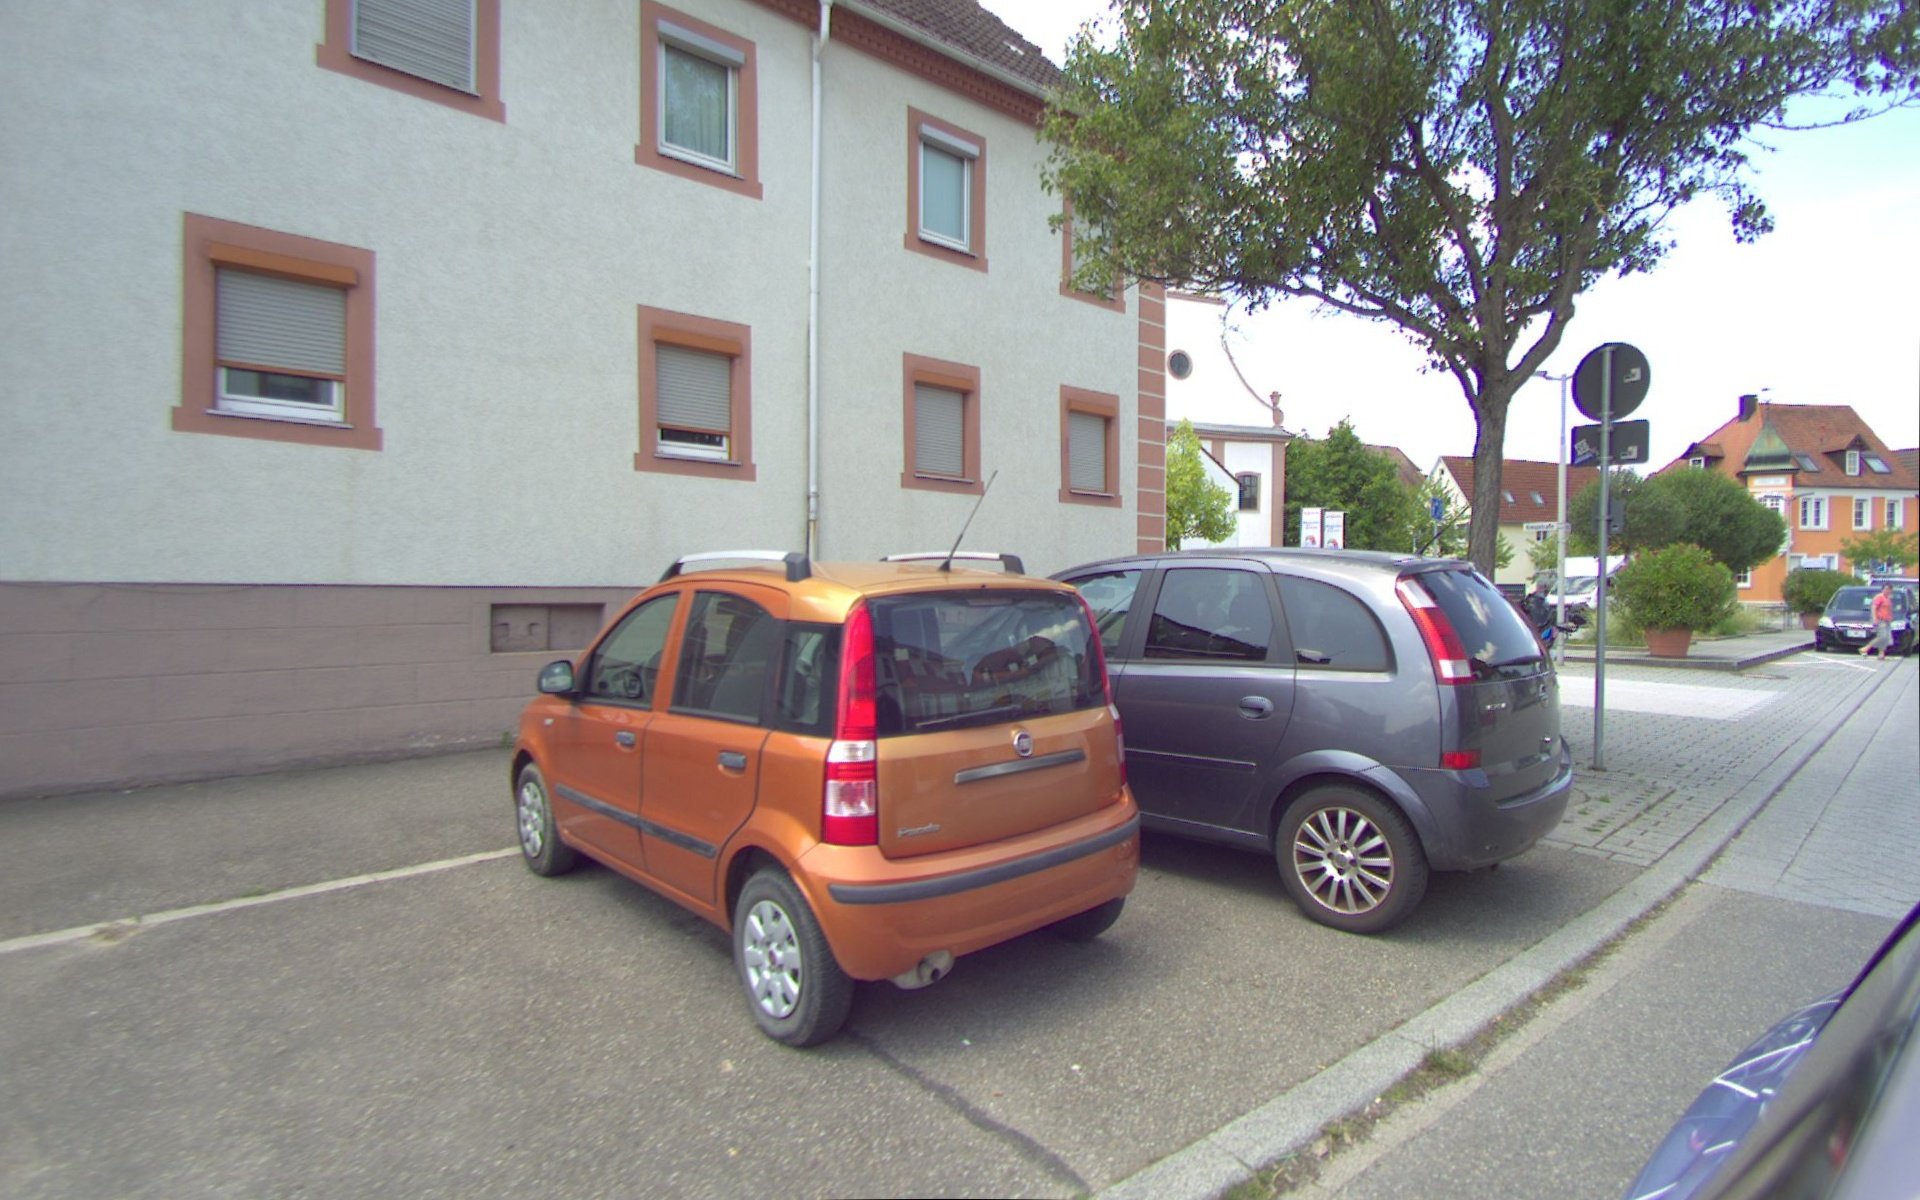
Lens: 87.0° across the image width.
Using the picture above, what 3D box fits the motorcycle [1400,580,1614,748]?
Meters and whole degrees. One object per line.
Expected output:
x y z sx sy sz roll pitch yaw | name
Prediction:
5.074 0.519 9.612 0.856 1.412 2.225 0 1 1 | motorcycle

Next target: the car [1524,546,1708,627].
26.027 -0.601 40.106 6.966 2.999 2.767 -1 2 -24 | car

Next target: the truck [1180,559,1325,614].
14.322 -0.679 50.109 2.898 2.529 6.832 0 1 -30 | truck

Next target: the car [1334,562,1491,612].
23.173 -0.656 52.081 6.842 2.508 2.650 0 0 5 | car

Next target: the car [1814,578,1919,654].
21.965 0.311 24.071 4.340 1.583 1.773 -1 3 -40 | car

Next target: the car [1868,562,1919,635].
30.877 -0.069 32.503 5.013 2.204 1.946 -1 2 -42 | car

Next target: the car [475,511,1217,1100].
-0.766 0.544 4.583 1.697 1.597 3.381 -1 0 -42 | car

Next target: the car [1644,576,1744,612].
42.340 -0.350 58.382 5.379 2.039 2.004 0 0 -20 | car

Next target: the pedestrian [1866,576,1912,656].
19.536 0.329 21.282 0.609 1.649 0.640 0 0 -39 | pedestrian

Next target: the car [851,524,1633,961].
1.303 0.444 5.707 1.821 1.597 3.851 -1 2 -45 | car
